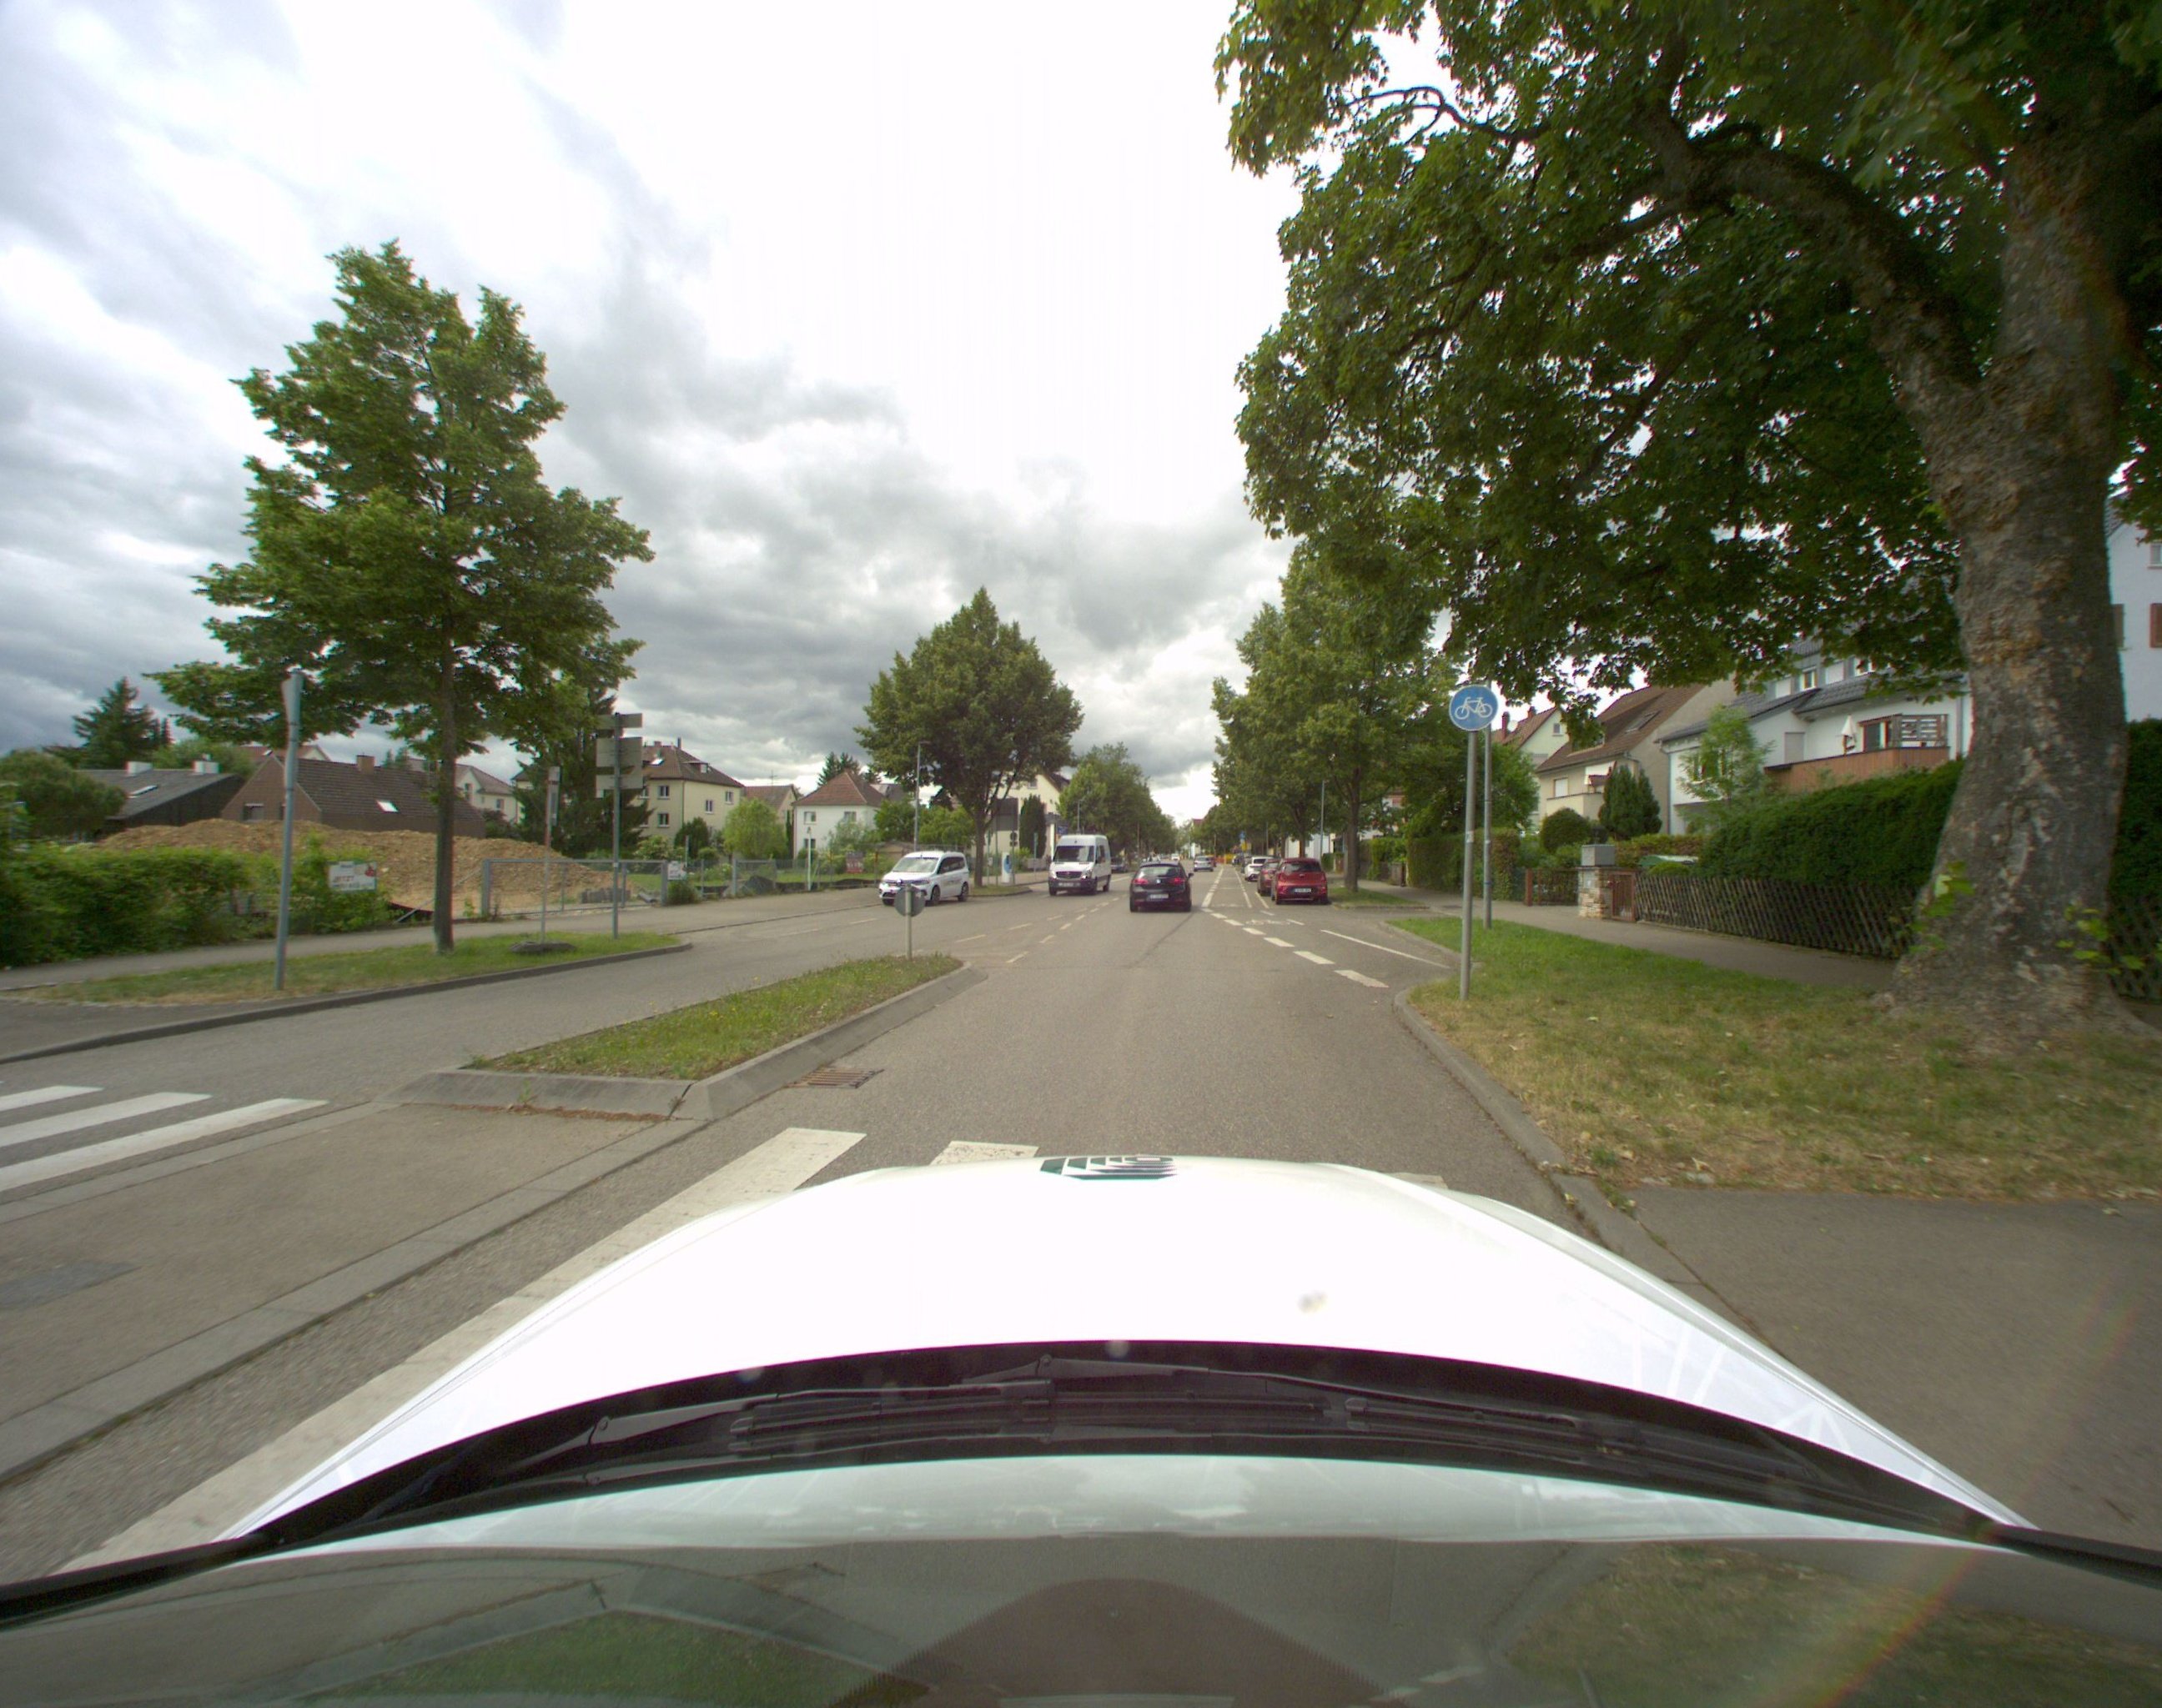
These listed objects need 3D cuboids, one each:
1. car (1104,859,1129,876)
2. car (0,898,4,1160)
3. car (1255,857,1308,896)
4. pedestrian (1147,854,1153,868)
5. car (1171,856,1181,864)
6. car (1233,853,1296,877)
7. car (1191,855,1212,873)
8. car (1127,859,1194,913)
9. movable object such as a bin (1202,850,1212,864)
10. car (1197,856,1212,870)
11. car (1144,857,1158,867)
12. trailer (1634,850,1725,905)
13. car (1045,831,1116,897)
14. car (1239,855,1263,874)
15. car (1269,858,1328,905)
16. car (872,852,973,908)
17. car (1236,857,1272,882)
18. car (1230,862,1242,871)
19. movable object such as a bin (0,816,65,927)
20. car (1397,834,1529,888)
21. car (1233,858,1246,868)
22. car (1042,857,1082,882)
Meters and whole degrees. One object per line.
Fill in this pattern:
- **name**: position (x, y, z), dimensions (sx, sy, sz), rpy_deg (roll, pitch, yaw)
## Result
- **car**: position (3.391, 1.231, 76.221), dimensions (1.720, 1.469, 4.314), rpy_deg (-1, 0, 11)
- **car**: position (-6.816, 0.909, 2.586), dimensions (1.562, 1.362, 3.756), rpy_deg (0, 0, 13)
- **car**: position (7.971, 0.862, 32.642), dimensions (1.643, 1.416, 4.186), rpy_deg (-1, 0, 8)
- **pedestrian**: position (8.945, 0.900, 105.533), dimensions (0.538, 1.681, 0.754), rpy_deg (1, 1, 18)
- **car**: position (20.067, 1.259, 171.763), dimensions (1.954, 1.830, 4.832), rpy_deg (0, 0, 10)
- **car**: position (13.348, 0.793, 59.410), dimensions (4.198, 1.638, 1.695), rpy_deg (-1, 0, 4)
- **car**: position (11.727, 0.960, 79.317), dimensions (1.895, 1.685, 3.747), rpy_deg (-1, 0, 7)
- **car**: position (2.428, 0.889, 24.246), dimensions (1.809, 1.438, 3.747), rpy_deg (-1, 0, 7)
- **movable object such as a bin**: position (23.469, 0.475, 151.922), dimensions (1.758, 2.574, 3.747), rpy_deg (0, 0, 7)
- **car**: position (16.466, 1.180, 108.569), dimensions (1.897, 1.882, 4.007), rpy_deg (0, 0, 7)
- **car**: position (9.834, 1.096, 113.583), dimensions (1.633, 1.420, 4.030), rpy_deg (-1, -1, 9)
- **trailer**: position (16.138, 0.619, 22.000), dimensions (1.574, 1.374, 1.151), rpy_deg (2, 0, 4)
- **car**: position (0.089, 0.430, 35.985), dimensions (2.005, 2.674, 5.824), rpy_deg (0, 0, 12)
- **car**: position (14.733, 0.923, 70.733), dimensions (1.712, 1.580, 4.070), rpy_deg (0, 0, 8)
- **car**: position (7.139, 0.877, 27.032), dimensions (1.555, 1.455, 3.678), rpy_deg (0, -1, 10)
- **car**: position (-5.353, 0.822, 28.134), dimensions (1.759, 1.770, 4.566), rpy_deg (0, 0, 12)
- **car**: position (10.399, 0.901, 49.162), dimensions (1.795, 1.475, 4.823), rpy_deg (0, 0, 8)
- **car**: position (24.558, 1.960, 128.864), dimensions (1.663, 1.462, 4.008), rpy_deg (-1, 0, 7)
- **movable object such as a bin**: position (-22.406, 0.347, 14.909), dimensions (1.885, 2.188, 4.372), rpy_deg (0, 0, 8)
- **car**: position (18.980, 0.335, 40.677), dimensions (5.686, 2.591, 2.001), rpy_deg (0, 0, 5)
- **car**: position (23.212, 1.324, 119.420), dimensions (1.696, 1.454, 4.627), rpy_deg (-1, 0, 9)
- **car**: position (-1.178, 0.992, 53.036), dimensions (1.674, 1.541, 4.145), rpy_deg (0, 0, 12)
